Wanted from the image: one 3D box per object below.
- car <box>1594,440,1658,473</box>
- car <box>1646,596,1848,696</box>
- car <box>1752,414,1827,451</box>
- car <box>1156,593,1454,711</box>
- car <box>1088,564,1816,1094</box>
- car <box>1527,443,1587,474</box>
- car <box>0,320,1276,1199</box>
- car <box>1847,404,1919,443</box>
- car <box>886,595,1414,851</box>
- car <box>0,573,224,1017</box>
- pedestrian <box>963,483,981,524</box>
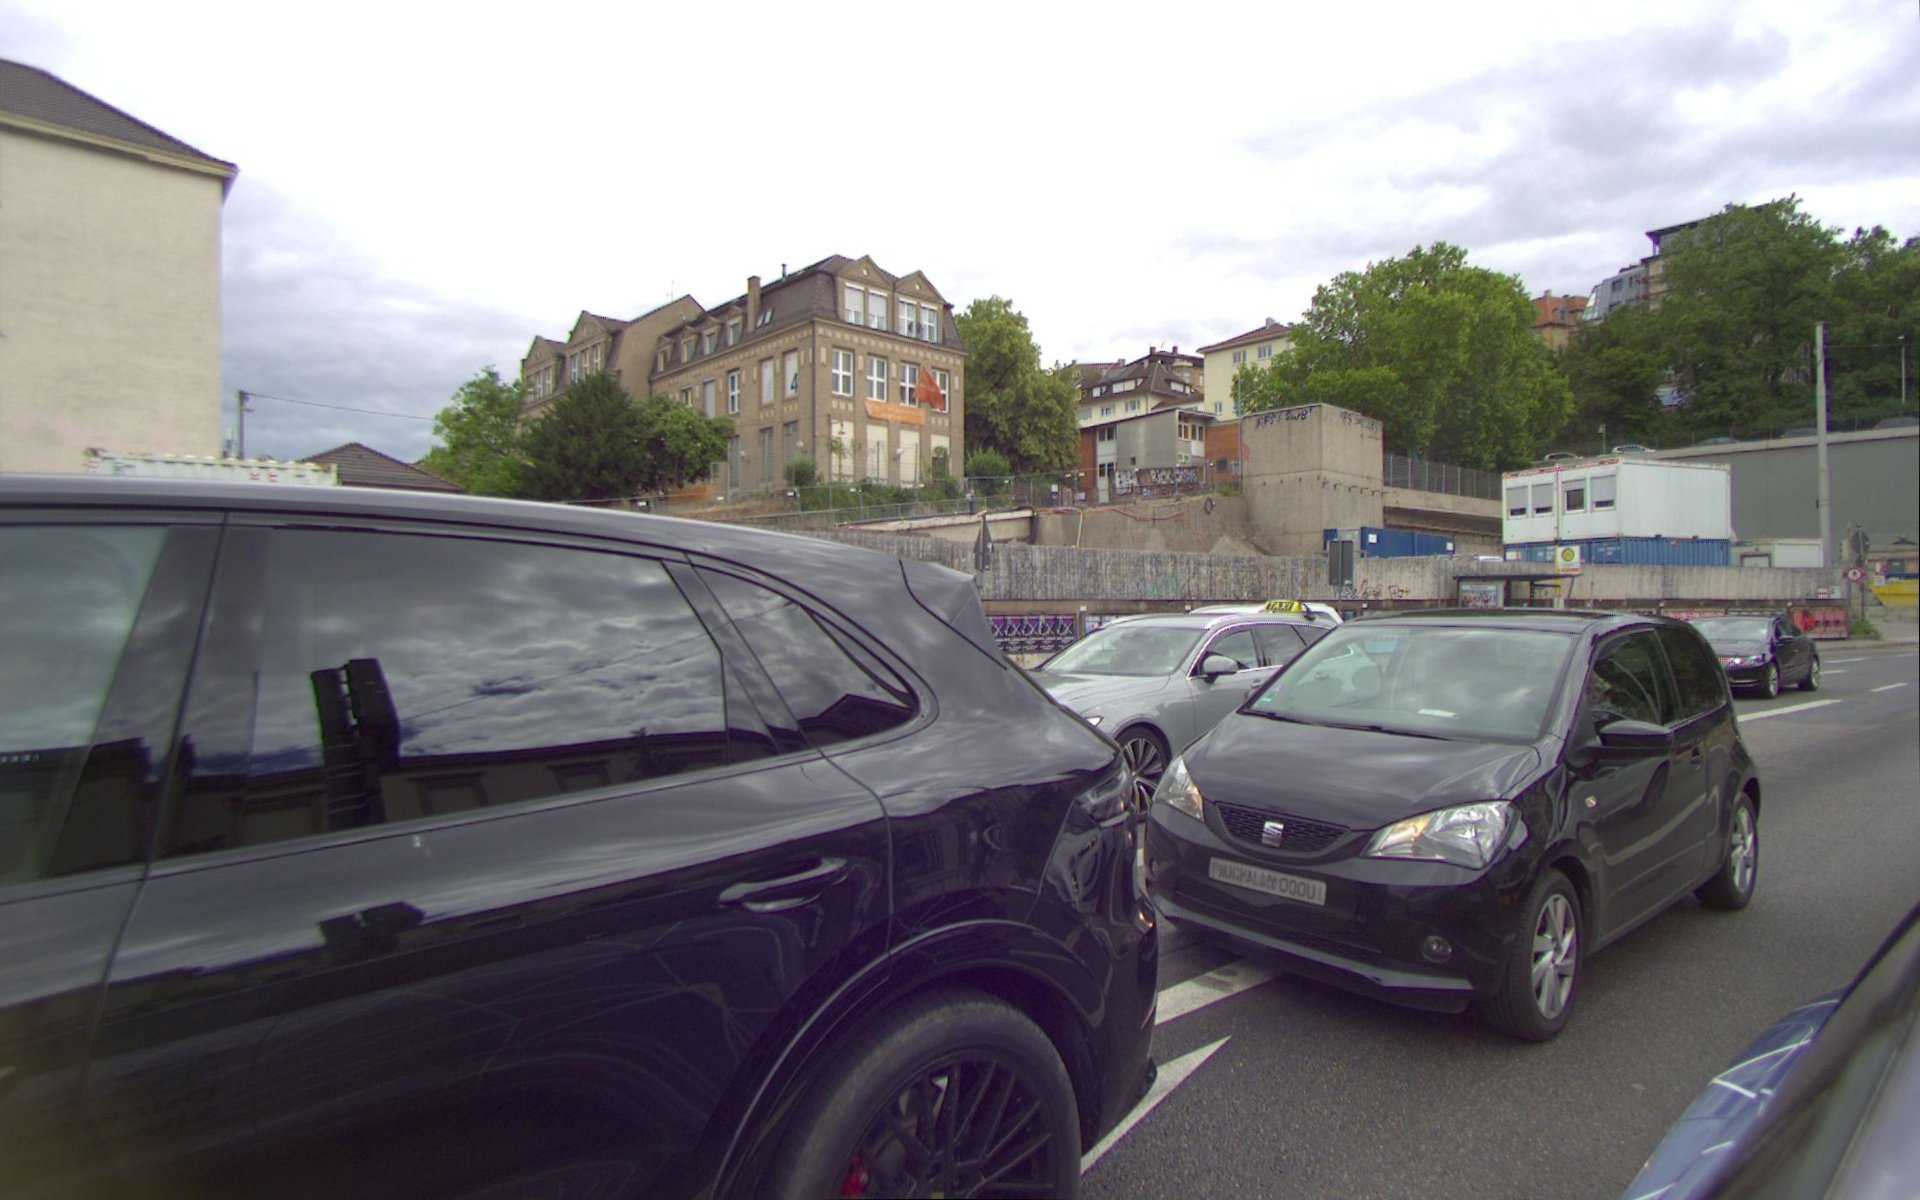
[{"bbox_3d":[53.575,-11.506,81.419,3.988,2.039,1.968,0,1,45],"label":"car"},{"bbox_3d":[14.196,0.733,18.171,4.466,1.579,1.705,0,0,-36],"label":"car"},{"bbox_3d":[60.624,-12.219,73.994,1.966,2.039,3.991,0,1,-43],"label":"car"},{"bbox_3d":[5.331,0.705,15.534,4.458,1.579,1.708,0,0,-27],"label":"car"},{"bbox_3d":[2.523,0.661,4.775,3.812,1.515,1.667,0,-1,-40],"label":"car"},{"bbox_3d":[50.260,-11.913,85.208,3.988,2.039,1.968,0,1,45],"label":"car"},{"bbox_3d":[-1.627,0.585,1.691,4.552,1.707,1.959,0,-1,-40],"label":"car"},{"bbox_3d":[64.162,-12.189,70.026,1.966,2.039,3.991,0,1,-43],"label":"car"},{"bbox_3d":[1.775,0.765,8.485,4.570,1.591,1.826,0,0,-39],"label":"car"},{"bbox_3d":[-4.888,0.694,3.410,3.812,1.563,1.667,0,-1,-40],"label":"car"},{"bbox_3d":[0.639,-4.994,52.644,0.656,2.039,0.644,0,0,-45],"label":"pedestrian"}]
